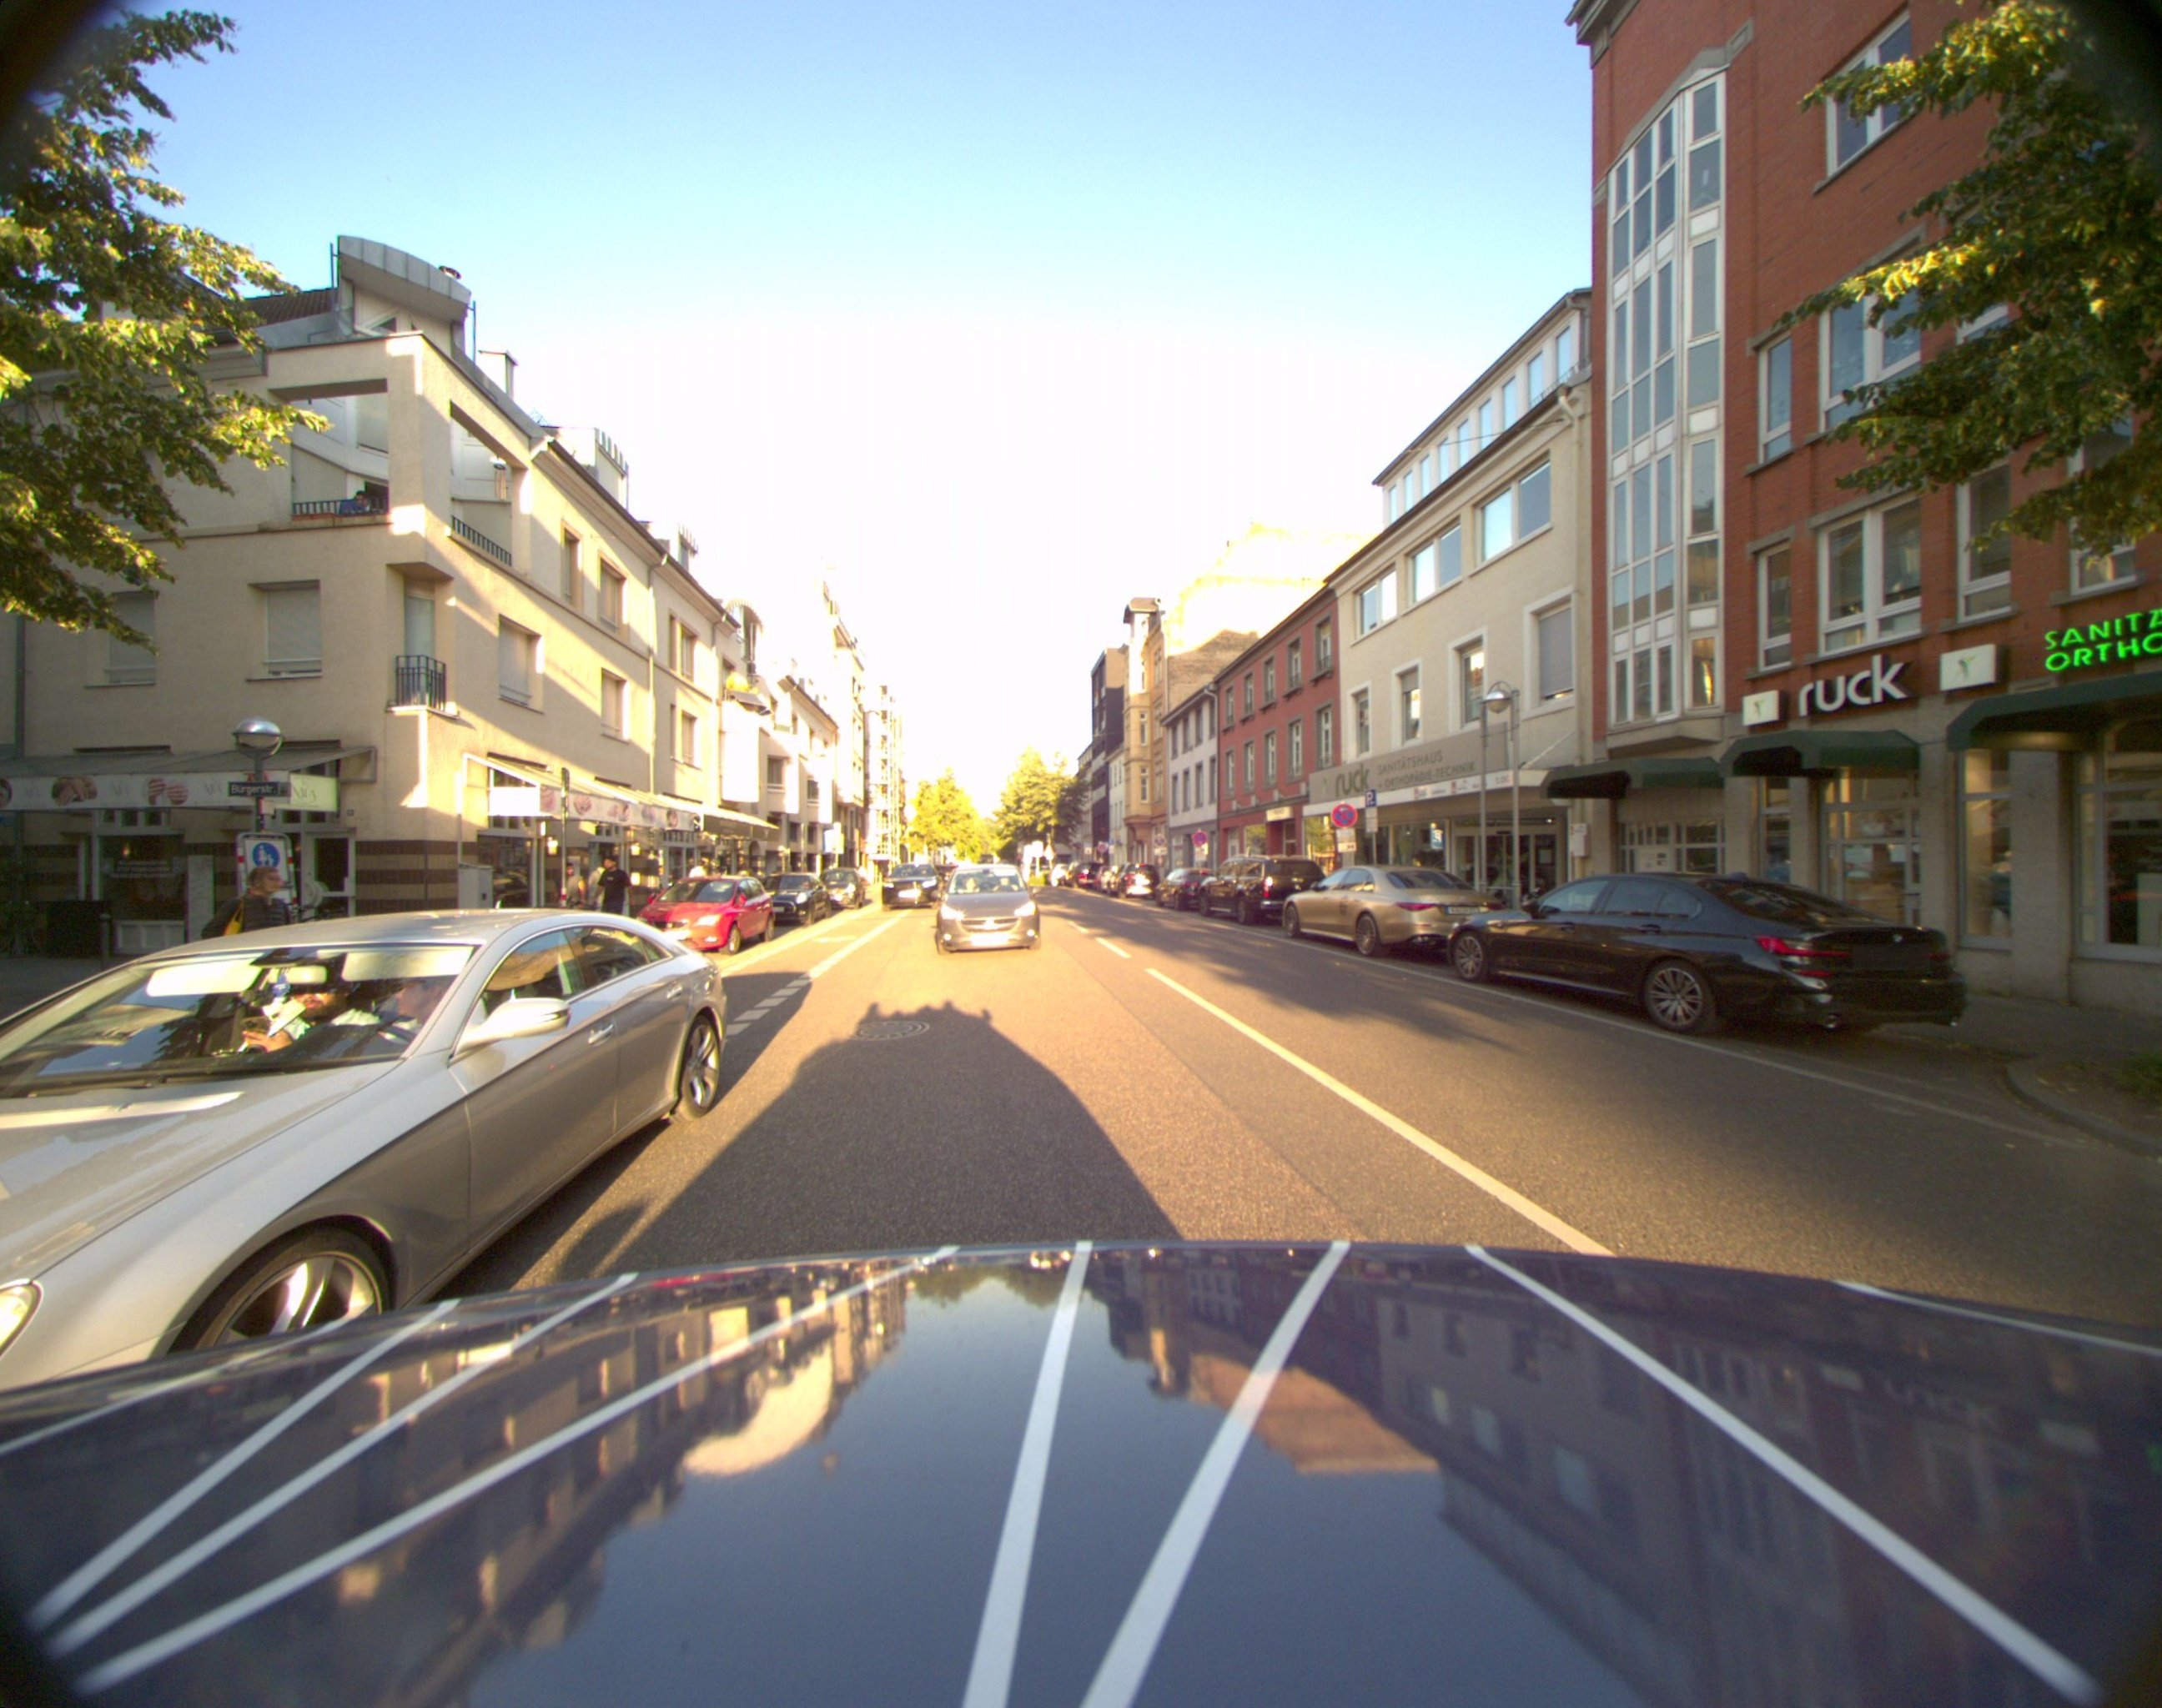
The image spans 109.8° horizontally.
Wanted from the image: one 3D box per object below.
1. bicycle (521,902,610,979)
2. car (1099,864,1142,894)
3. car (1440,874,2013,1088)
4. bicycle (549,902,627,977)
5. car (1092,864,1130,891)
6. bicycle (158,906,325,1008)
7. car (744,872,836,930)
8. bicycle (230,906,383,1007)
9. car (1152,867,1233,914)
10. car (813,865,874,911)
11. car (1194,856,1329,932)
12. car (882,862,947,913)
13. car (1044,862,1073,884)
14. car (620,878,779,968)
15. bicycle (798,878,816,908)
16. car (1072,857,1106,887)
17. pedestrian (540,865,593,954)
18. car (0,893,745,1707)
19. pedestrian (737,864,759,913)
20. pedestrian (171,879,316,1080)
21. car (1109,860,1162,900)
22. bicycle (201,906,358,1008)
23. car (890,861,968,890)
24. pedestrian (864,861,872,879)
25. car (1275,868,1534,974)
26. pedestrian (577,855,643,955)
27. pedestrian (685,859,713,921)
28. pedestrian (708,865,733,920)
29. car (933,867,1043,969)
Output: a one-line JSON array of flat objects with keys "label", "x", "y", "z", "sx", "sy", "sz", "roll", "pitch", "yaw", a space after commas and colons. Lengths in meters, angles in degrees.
[{"label": "bicycle", "x": -8.386, "y": 1.371, "z": 12.443, "sx": 0.315, "sy": 1.040, "sz": 1.881, "roll": 0, "pitch": 0, "yaw": -5}, {"label": "car", "x": 2.036, "y": 1.295, "z": 40.144, "sx": 1.690, "sy": 1.461, "sz": 3.689, "roll": 2, "pitch": -1, "yaw": -6}, {"label": "car", "x": 5.889, "y": 1.012, "z": 7.885, "sx": 1.726, "sy": 1.464, "sz": 4.538, "roll": 2, "pitch": -1, "yaw": -7}, {"label": "bicycle", "x": -8.038, "y": 1.363, "z": 12.454, "sx": 0.315, "sy": 1.040, "sz": 1.664, "roll": 0, "pitch": 0, "yaw": -5}, {"label": "car", "x": 1.714, "y": 1.315, "z": 44.114, "sx": 1.674, "sy": 1.448, "sz": 3.563, "roll": 2, "pitch": -1, "yaw": -6}, {"label": "bicycle", "x": -11.079, "y": 1.312, "z": 10.125, "sx": 0.322, "sy": 1.098, "sz": 1.878, "roll": -1, "pitch": 0, "yaw": -7}, {"label": "car", "x": -8.196, "y": 1.273, "z": 21.734, "sx": 1.622, "sy": 1.425, "sz": 3.923, "roll": 0, "pitch": 0, "yaw": -8}, {"label": "bicycle", "x": -10.285, "y": 1.312, "z": 10.190, "sx": 0.322, "sy": 1.098, "sz": 1.878, "roll": -1, "pitch": 0, "yaw": -7}, {"label": "car", "x": 3.797, "y": 1.220, "z": 26.534, "sx": 1.707, "sy": 1.429, "sz": 4.011, "roll": 2, "pitch": -1, "yaw": -8}, {"label": "car", "x": -9.047, "y": 1.255, "z": 29.192, "sx": 1.622, "sy": 1.583, "sz": 3.923, "roll": -1, "pitch": 0, "yaw": -8}, {"label": "car", "x": 4.620, "y": 0.964, "z": 20.327, "sx": 1.726, "sy": 1.768, "sz": 4.935, "roll": 1, "pitch": -1, "yaw": -9}, {"label": "car", "x": -5.947, "y": 1.150, "z": 27.509, "sx": 1.891, "sy": 1.626, "sz": 4.224, "roll": -2, "pitch": 0, "yaw": -8}, {"label": "car", "x": -1.652, "y": 1.324, "z": 54.894, "sx": 1.674, "sy": 1.512, "sz": 3.562, "roll": 1, "pitch": 0, "yaw": -8}, {"label": "car", "x": -7.200, "y": 1.224, "z": 14.772, "sx": 1.594, "sy": 1.425, "sz": 3.923, "roll": 0, "pitch": 0, "yaw": -8}, {"label": "bicycle", "x": -10.599, "y": 1.505, "z": 29.408, "sx": 0.296, "sy": 1.079, "sz": 1.462, "roll": -1, "pitch": 0, "yaw": -7}, {"label": "car", "x": 0.460, "y": 1.122, "z": 47.884, "sx": 1.674, "sy": 1.763, "sz": 3.563, "roll": 2, "pitch": -1, "yaw": -6}, {"label": "pedestrian", "x": -10.326, "y": 1.092, "z": 15.265, "sx": 0.631, "sy": 1.739, "sz": 0.669, "roll": 0, "pitch": 0, "yaw": -8}, {"label": "car", "x": -3.035, "y": 1.059, "z": 3.132, "sx": 1.748, "sy": 1.393, "sz": 4.635, "roll": -3, "pitch": 1, "yaw": -8}, {"label": "pedestrian", "x": -12.540, "y": 1.291, "z": 28.652, "sx": 0.576, "sy": 1.789, "sz": 0.450, "roll": -2, "pitch": 1, "yaw": -7}, {"label": "pedestrian", "x": -7.640, "y": 1.080, "z": 6.943, "sx": 0.795, "sy": 1.666, "sz": 0.704, "roll": 2, "pitch": 1, "yaw": 28}, {"label": "car", "x": 2.465, "y": 1.154, "z": 35.070, "sx": 1.726, "sy": 1.673, "sz": 4.047, "roll": 2, "pitch": -1, "yaw": -6}, {"label": "bicycle", "x": -10.596, "y": 1.316, "z": 10.144, "sx": 0.291, "sy": 1.098, "sz": 1.886, "roll": -1, "pitch": 0, "yaw": -7}, {"label": "car", "x": -9.013, "y": 1.240, "z": 45.160, "sx": 4.292, "sy": 1.665, "sz": 1.736, "roll": 0, "pitch": 0, "yaw": -1}, {"label": "pedestrian", "x": -15.665, "y": 1.169, "z": 55.892, "sx": 0.492, "sy": 1.256, "sz": 0.421, "roll": -2, "pitch": 1, "yaw": -7}, {"label": "car", "x": 5.355, "y": 1.027, "z": 13.545, "sx": 2.000, "sy": 1.463, "sz": 5.104, "roll": 1, "pitch": -1, "yaw": -6}, {"label": "pedestrian", "x": -9.230, "y": 0.972, "z": 14.923, "sx": 0.779, "sy": 1.872, "sz": 0.669, "roll": -4, "pitch": 1, "yaw": -8}, {"label": "pedestrian", "x": -11.099, "y": 1.034, "z": 22.084, "sx": 0.545, "sy": 1.748, "sz": 0.502, "roll": 2, "pitch": 0, "yaw": -8}, {"label": "pedestrian", "x": -10.582, "y": 1.130, "z": 22.291, "sx": 0.521, "sy": 1.583, "sz": 0.408, "roll": 2, "pitch": 0, "yaw": -8}, {"label": "car", "x": -1.675, "y": 1.006, "z": 13.552, "sx": 1.623, "sy": 1.465, "sz": 3.686, "roll": -2, "pitch": 0, "yaw": -8}]
